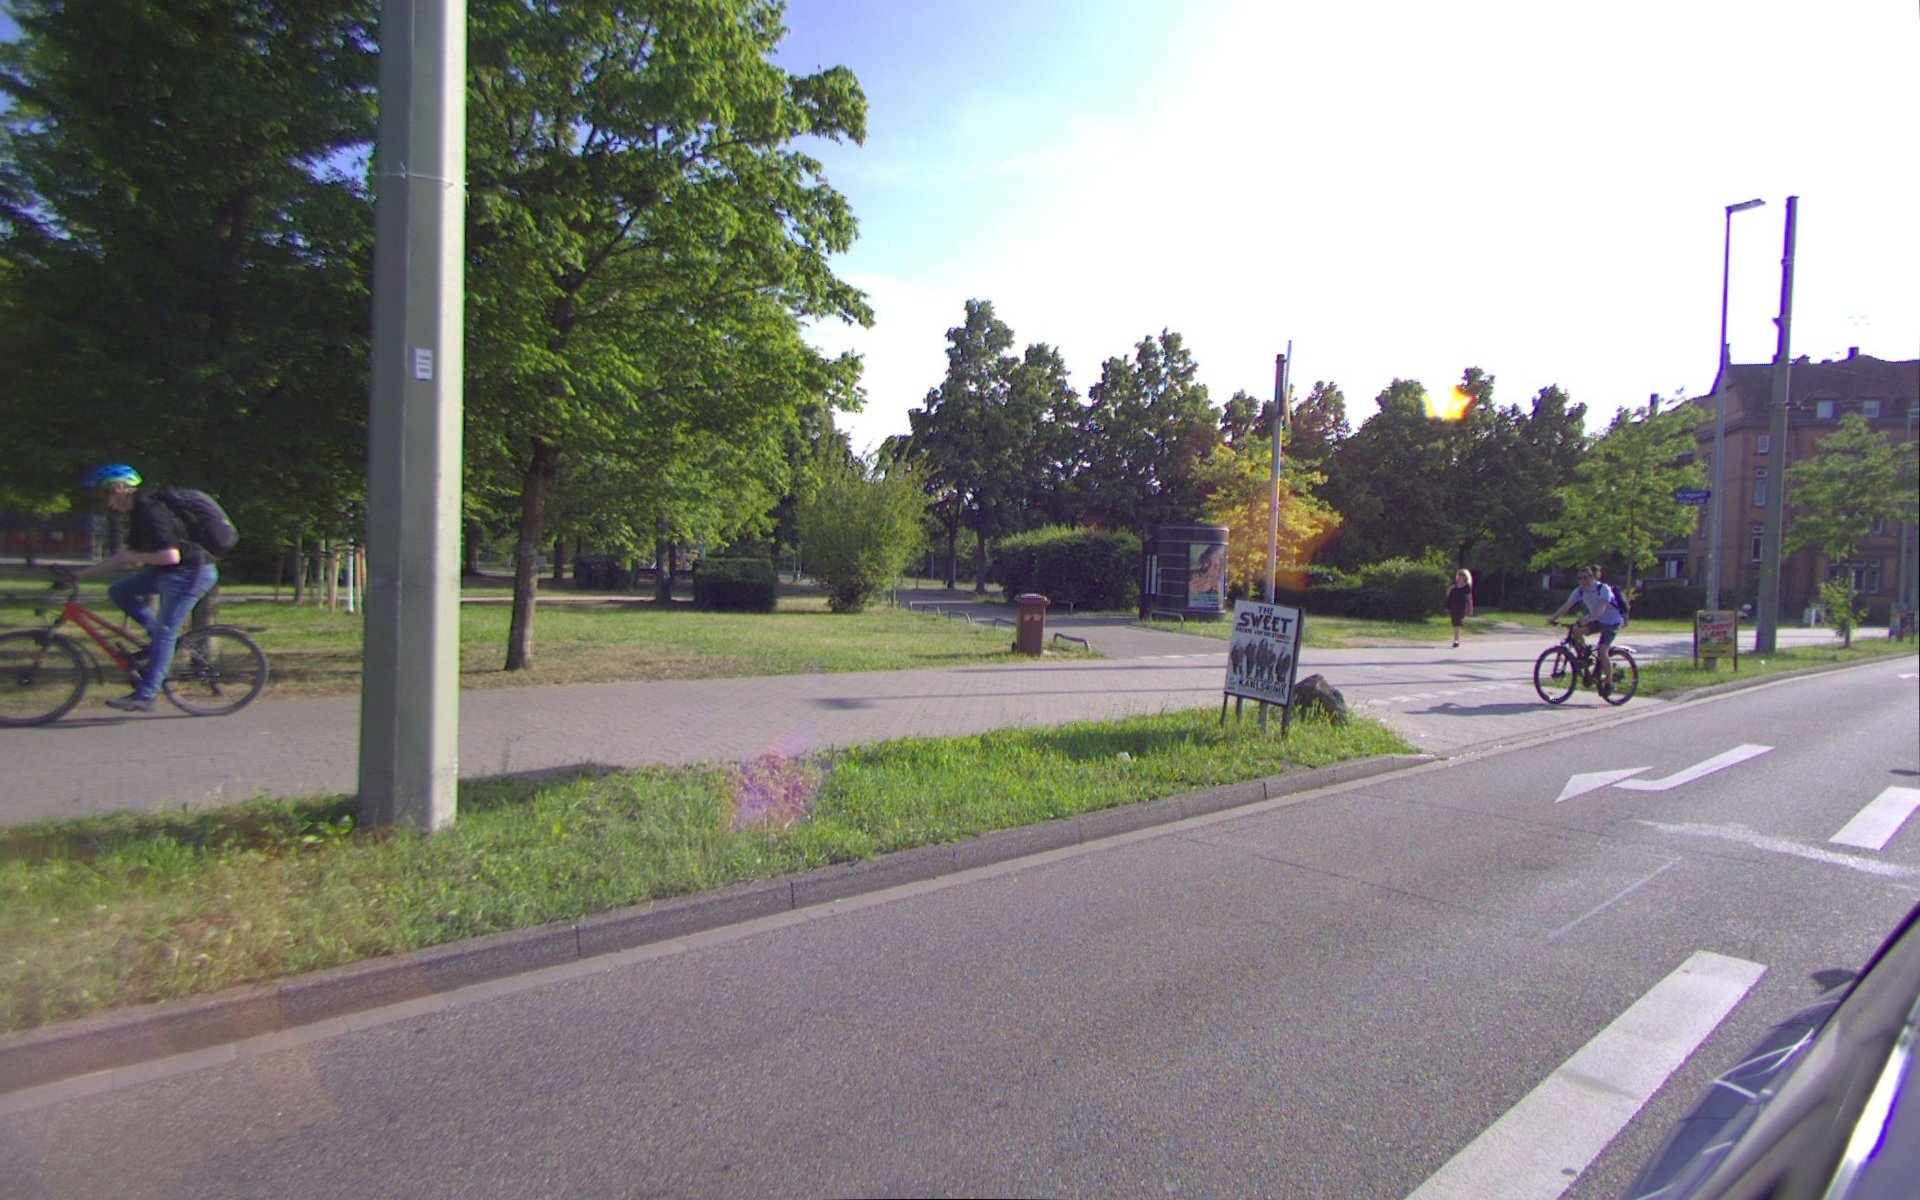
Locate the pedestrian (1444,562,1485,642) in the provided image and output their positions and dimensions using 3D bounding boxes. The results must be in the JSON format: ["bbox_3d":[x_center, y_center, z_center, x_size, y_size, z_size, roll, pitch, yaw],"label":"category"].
[{"bbox_3d":[11.127,0.036,22.313,0.651,1.722,0.558,1,2,-41],"label":"pedestrian"}]

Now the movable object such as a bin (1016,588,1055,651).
[{"bbox_3d":[1.131,0.287,15.243,0.514,0.915,0.504,2,1,-2],"label":"movable object such as a bin"}]

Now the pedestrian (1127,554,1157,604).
[{"bbox_3d":[8.066,-0.926,44.936,0.872,2.184,0.914,1,1,-28],"label":"pedestrian"}]

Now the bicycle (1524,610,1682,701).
[{"bbox_3d":[8.506,0.740,13.391,1.899,1.101,0.644,2,3,-19],"label":"bicycle"}]

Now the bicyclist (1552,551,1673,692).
[{"bbox_3d":[8.606,0.280,13.372,1.116,1.766,0.653,2,4,-19],"label":"bicyclist"}]

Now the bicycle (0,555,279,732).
[{"bbox_3d":[-5.834,0.274,7.111,1.701,1.101,0.643,1,4,-37],"label":"bicycle"}]

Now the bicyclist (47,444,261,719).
[{"bbox_3d":[-5.615,-0.144,7.109,1.119,1.766,0.722,1,5,-37],"label":"bicyclist"}]
